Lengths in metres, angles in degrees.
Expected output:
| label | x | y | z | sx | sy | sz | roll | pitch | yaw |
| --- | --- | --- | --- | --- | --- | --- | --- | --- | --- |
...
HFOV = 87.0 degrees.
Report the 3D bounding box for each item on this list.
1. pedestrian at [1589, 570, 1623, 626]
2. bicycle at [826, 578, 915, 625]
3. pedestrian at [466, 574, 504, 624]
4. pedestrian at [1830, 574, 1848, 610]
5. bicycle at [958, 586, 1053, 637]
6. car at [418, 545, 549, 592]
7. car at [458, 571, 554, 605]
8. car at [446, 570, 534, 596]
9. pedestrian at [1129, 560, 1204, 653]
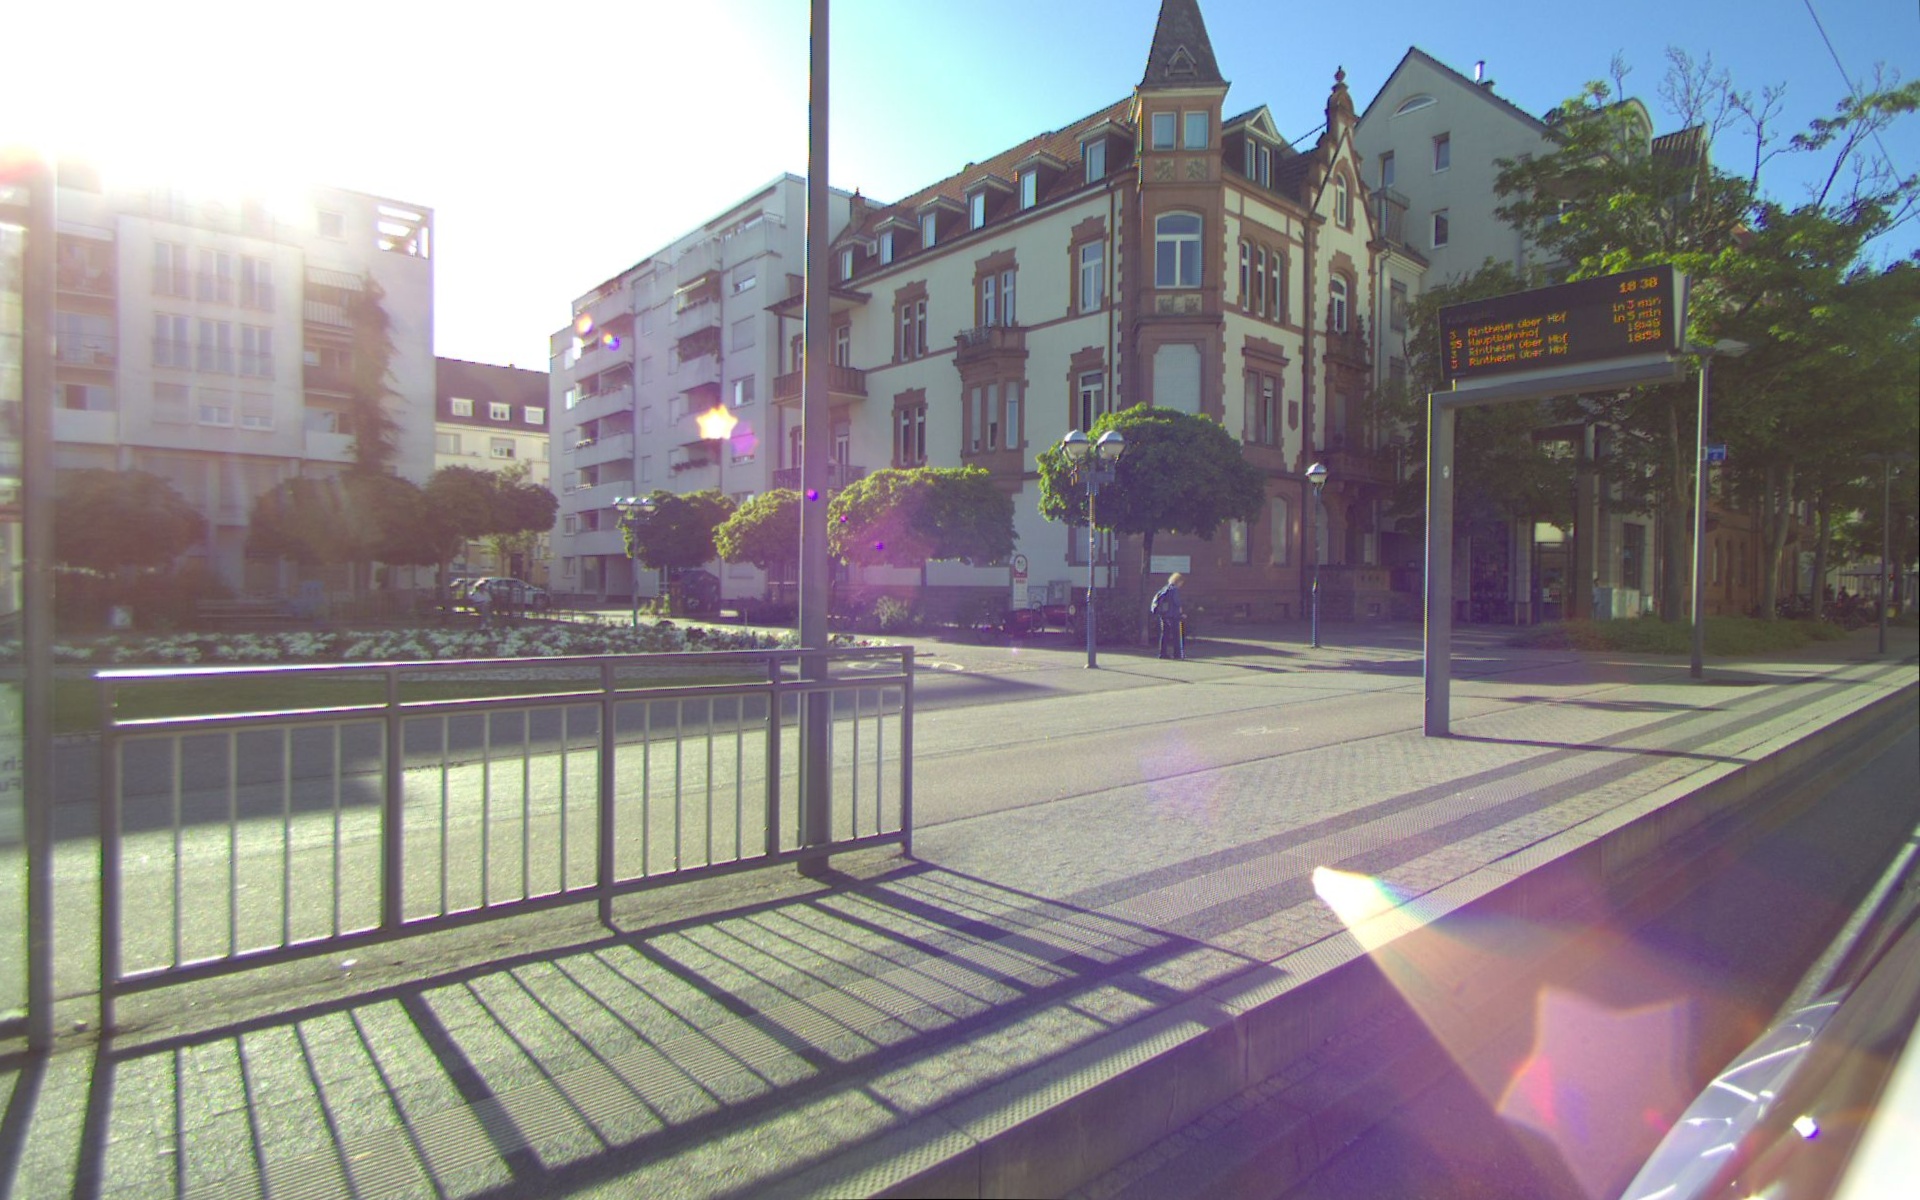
| label | x | y | z | sx | sy | sz | roll | pitch | yaw |
| --- | --- | --- | --- | --- | --- | --- | --- | --- | --- |
| pedestrian | 20.359 | -0.075 | 31.882 | 0.740 | 1.757 | 0.864 | 1 | 1 | 43 |
| bicycle | -2.731 | 0.032 | 31.341 | 2.864 | 1.389 | 0.745 | -1 | 1 | -41 |
| pedestrian | -14.029 | -0.061 | 29.874 | 0.917 | 1.428 | 1.529 | 0 | 1 | -30 |
| pedestrian | 49.290 | -0.452 | 56.747 | 0.549 | 2.039 | 0.654 | 0 | 1 | -38 |
| bicycle | 1.150 | 0.253 | 24.593 | 0.786 | 1.081 | 2.768 | 1 | 3 | 40 |
| car | -27.324 | -1.778 | 58.207 | 2.807 | 2.587 | 6.294 | 1 | 2 | 45 |
| car | -21.696 | -0.584 | 48.380 | 3.923 | 1.536 | 2.001 | 0 | 1 | -34 |
| car | -24.499 | -0.869 | 52.757 | 3.923 | 1.304 | 2.001 | 0 | 1 | -34 |
| pedestrian | 3.868 | 0.098 | 18.946 | 1.064 | 1.689 | 0.944 | 1 | 1 | 37 |
